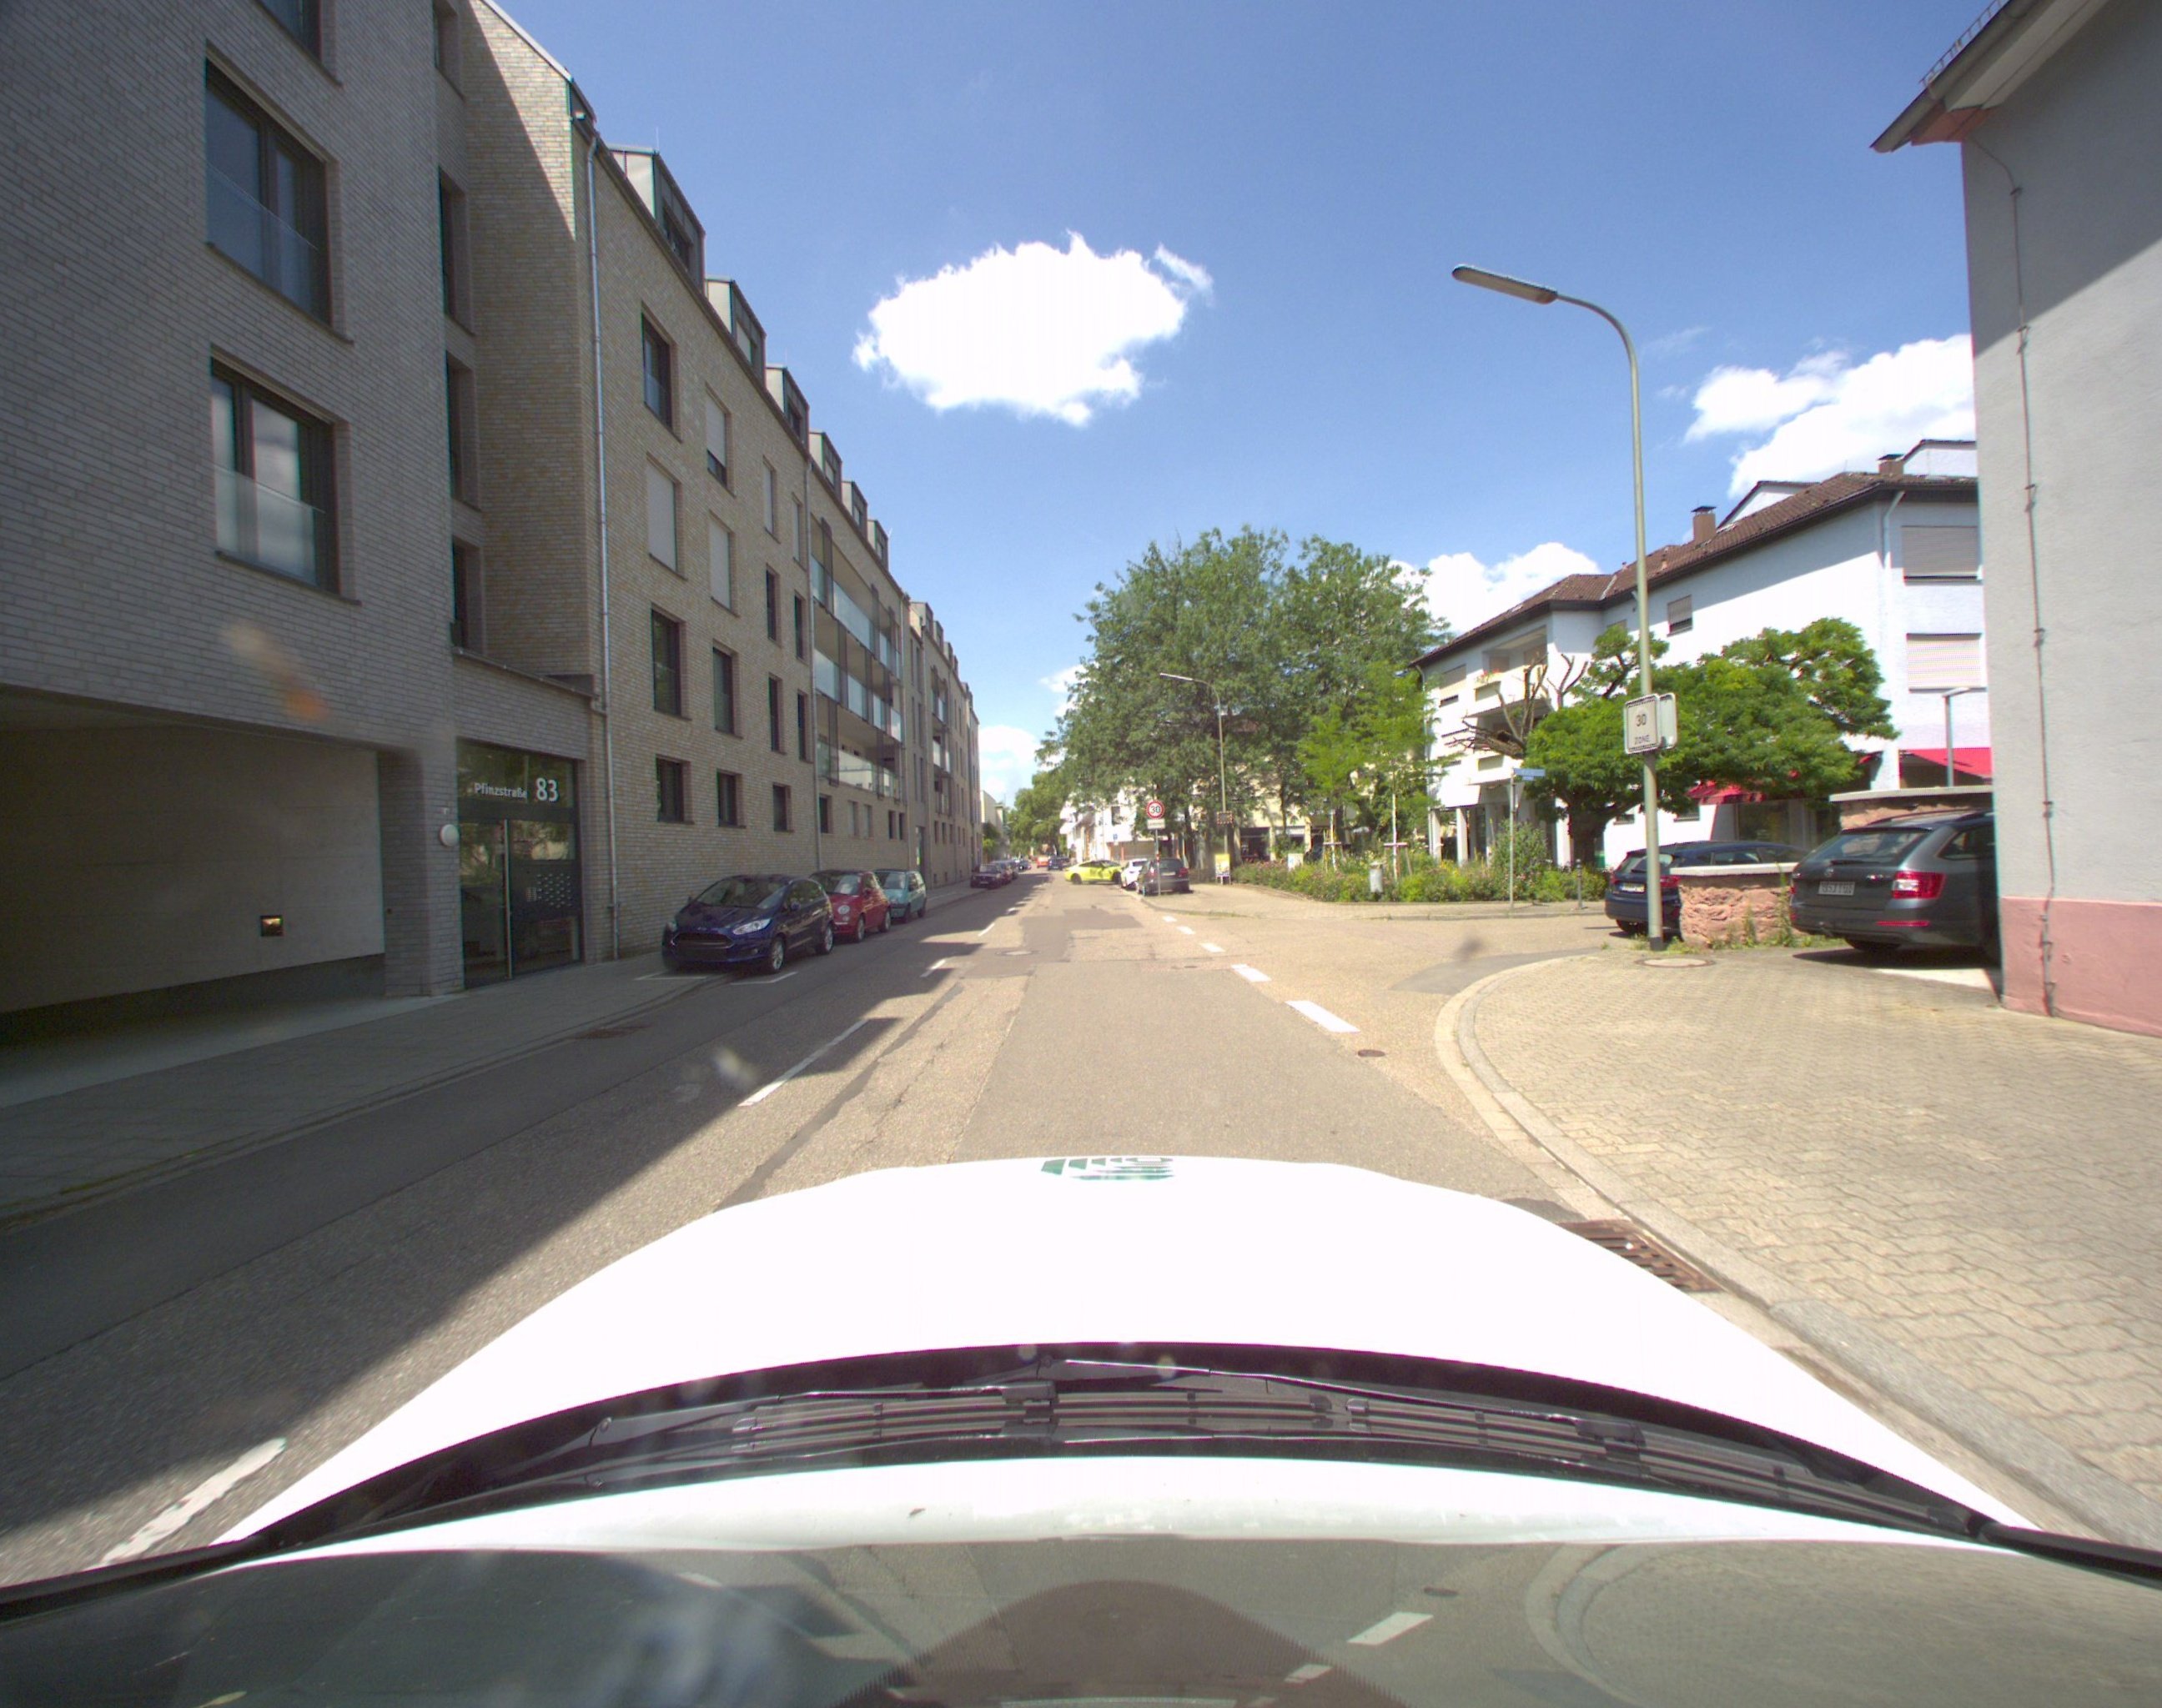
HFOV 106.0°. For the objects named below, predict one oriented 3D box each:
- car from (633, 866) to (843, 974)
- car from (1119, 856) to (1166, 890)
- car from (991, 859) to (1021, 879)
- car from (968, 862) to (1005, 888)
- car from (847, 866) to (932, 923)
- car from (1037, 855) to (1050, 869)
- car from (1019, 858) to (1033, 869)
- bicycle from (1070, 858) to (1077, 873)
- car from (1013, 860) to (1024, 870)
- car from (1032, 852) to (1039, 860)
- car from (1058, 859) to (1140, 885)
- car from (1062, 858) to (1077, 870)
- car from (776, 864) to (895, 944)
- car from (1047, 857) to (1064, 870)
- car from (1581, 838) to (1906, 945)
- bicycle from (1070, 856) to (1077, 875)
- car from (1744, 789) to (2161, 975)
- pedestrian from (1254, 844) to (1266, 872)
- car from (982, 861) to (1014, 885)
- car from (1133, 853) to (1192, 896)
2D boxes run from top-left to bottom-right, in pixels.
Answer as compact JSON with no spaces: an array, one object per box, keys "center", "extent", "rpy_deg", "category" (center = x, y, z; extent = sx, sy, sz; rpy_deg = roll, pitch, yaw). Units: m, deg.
[{"center":[-5.411,0.960,13.456],"extent":[1.717,1.456,4.005],"rpy_deg":[-1,0,1],"category":"car"},{"center":[2.824,0.850,38.150],"extent":[1.774,1.420,3.997],"rpy_deg":[-2,0,-1],"category":"car"},{"center":[-5.581,1.103,60.757],"extent":[1.821,1.420,4.000],"rpy_deg":[0,0,0],"category":"car"},{"center":[-5.593,1.226,48.579],"extent":[1.727,1.442,3.998],"rpy_deg":[-2,0,-1],"category":"car"},{"center":[-5.413,1.089,23.410],"extent":[1.586,1.456,3.702],"rpy_deg":[0,0,-1],"category":"car"},{"center":[-5.786,1.182,125.633],"extent":[1.834,2.013,3.997],"rpy_deg":[-2,0,-2],"category":"car"},{"center":[-8.385,1.443,124.682],"extent":[1.989,1.519,3.996],"rpy_deg":[-2,0,-3],"category":"car"},{"center":[-0.564,0.860,62.155],"extent":[0.482,1.114,1.195],"rpy_deg":[-2,-1,-1],"category":"bicycle"},{"center":[-13.556,2.311,177.289],"extent":[1.988,2.013,3.997],"rpy_deg":[-2,0,-1],"category":"car"},{"center":[-13.211,0.548,236.528],"extent":[2.153,2.013,3.994],"rpy_deg":[-2,0,-4],"category":"car"},{"center":[1.043,1.014,47.171],"extent":[4.336,1.381,2.013],"rpy_deg":[0,0,33],"category":"car"},{"center":[-1.684,1.340,114.049],"extent":[1.988,1.618,3.997],"rpy_deg":[-2,0,-2],"category":"car"},{"center":[-5.385,1.031,18.281],"extent":[1.586,1.554,3.569],"rpy_deg":[-2,0,-1],"category":"car"},{"center":[-2.934,1.104,94.698],"extent":[1.710,1.402,3.999],"rpy_deg":[-2,0,0],"category":"car"},{"center":[9.971,0.533,12.457],"extent":[3.588,1.449,1.741],"rpy_deg":[-1,0,-2],"category":"car"},{"center":[-0.561,0.879,62.138],"extent":[0.476,1.490,0.576],"rpy_deg":[-2,-1,-2],"category":"bicycle"},{"center":[9.620,0.218,8.242],"extent":[4.251,1.530,1.743],"rpy_deg":[-4,-2,2],"category":"car"},{"center":[12.161,0.242,55.323],"extent":[0.590,1.859,0.607],"rpy_deg":[-2,-1,22],"category":"pedestrian"},{"center":[-5.438,1.231,53.609],"extent":[1.727,1.442,3.998],"rpy_deg":[-2,0,-1],"category":"car"},{"center":[3.070,0.754,31.409],"extent":[1.688,1.420,3.997],"rpy_deg":[-5,0,-1],"category":"car"}]
